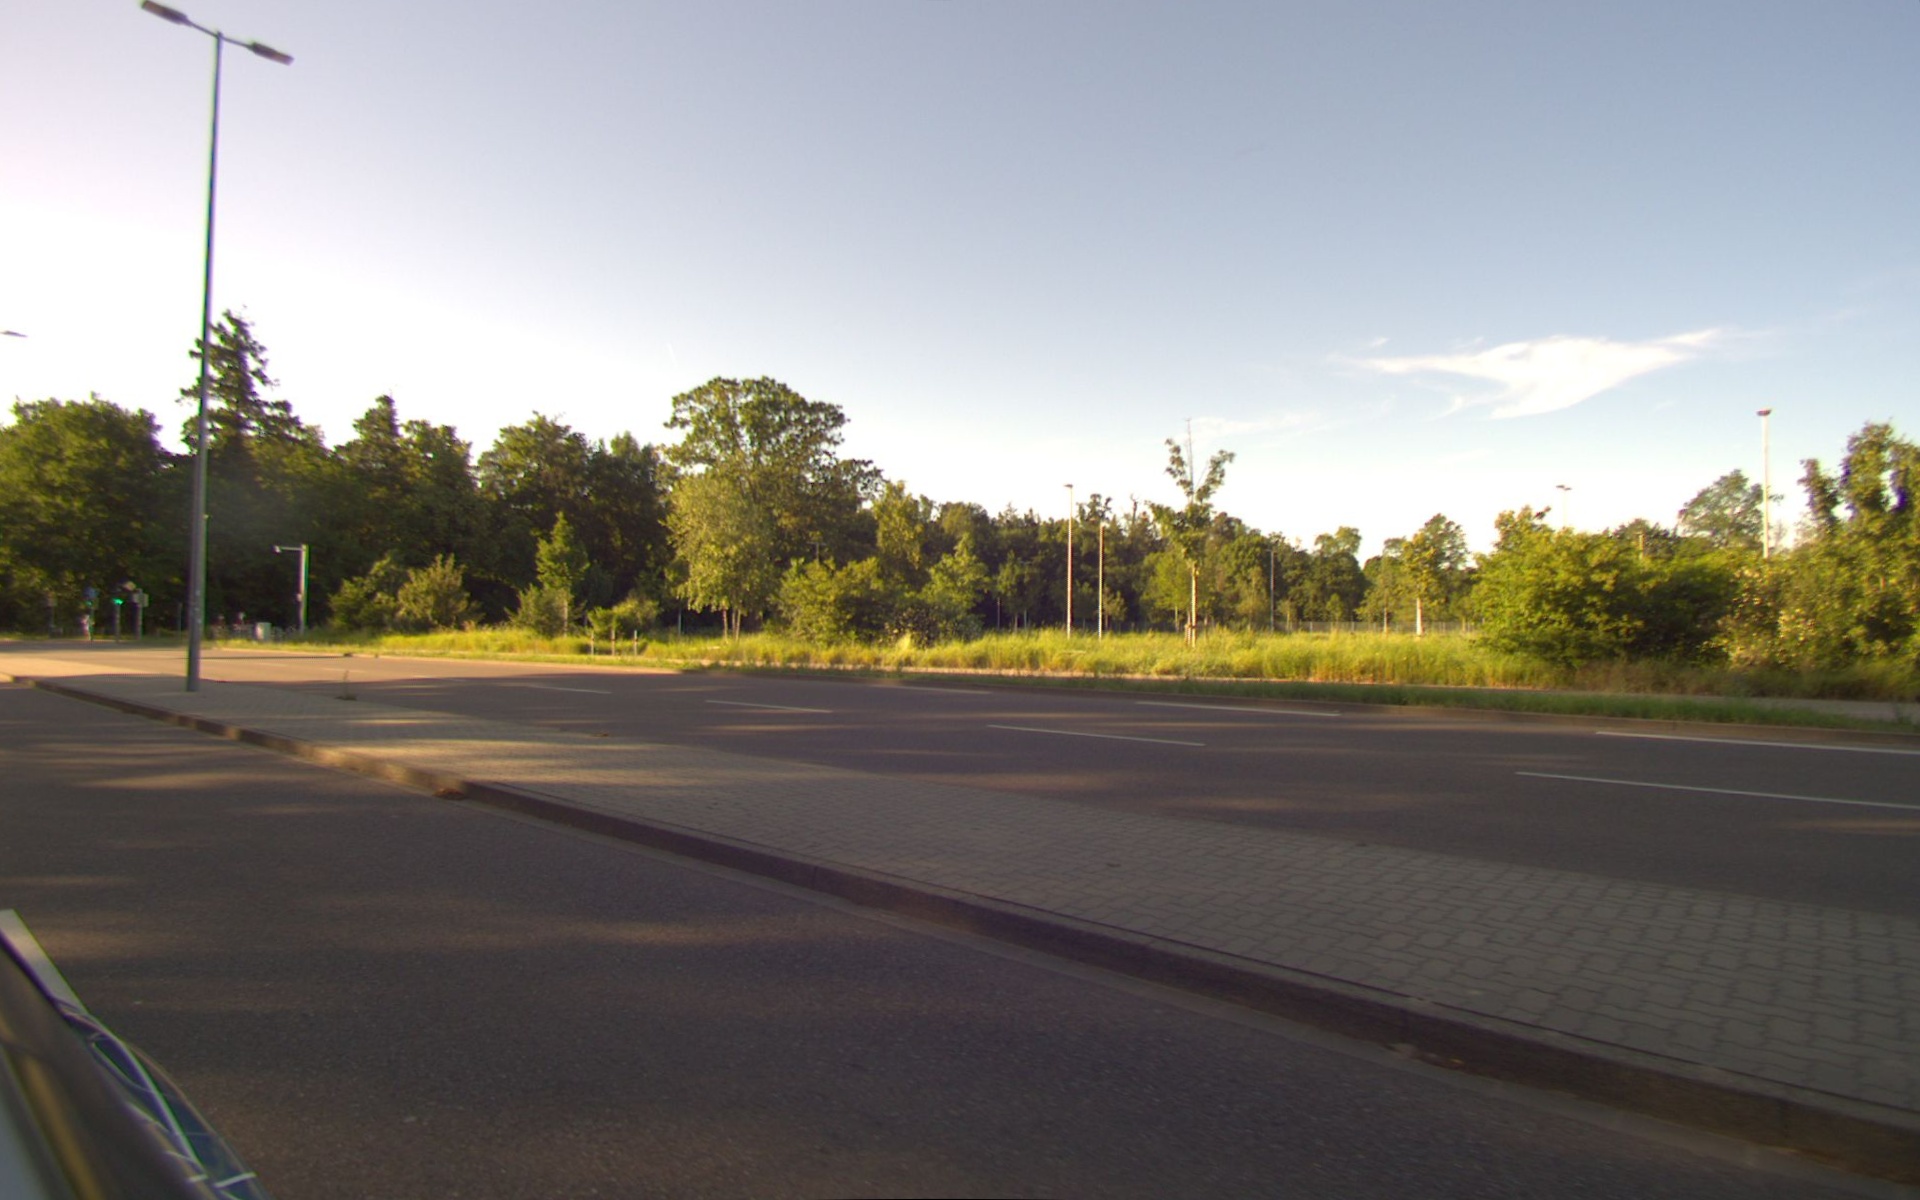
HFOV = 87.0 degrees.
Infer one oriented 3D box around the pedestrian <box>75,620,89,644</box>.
[{"bbox_3d":[-65.751,2.371,75.761,0.733,1.788,0.682,-2,-3,42],"label":"pedestrian"}]
